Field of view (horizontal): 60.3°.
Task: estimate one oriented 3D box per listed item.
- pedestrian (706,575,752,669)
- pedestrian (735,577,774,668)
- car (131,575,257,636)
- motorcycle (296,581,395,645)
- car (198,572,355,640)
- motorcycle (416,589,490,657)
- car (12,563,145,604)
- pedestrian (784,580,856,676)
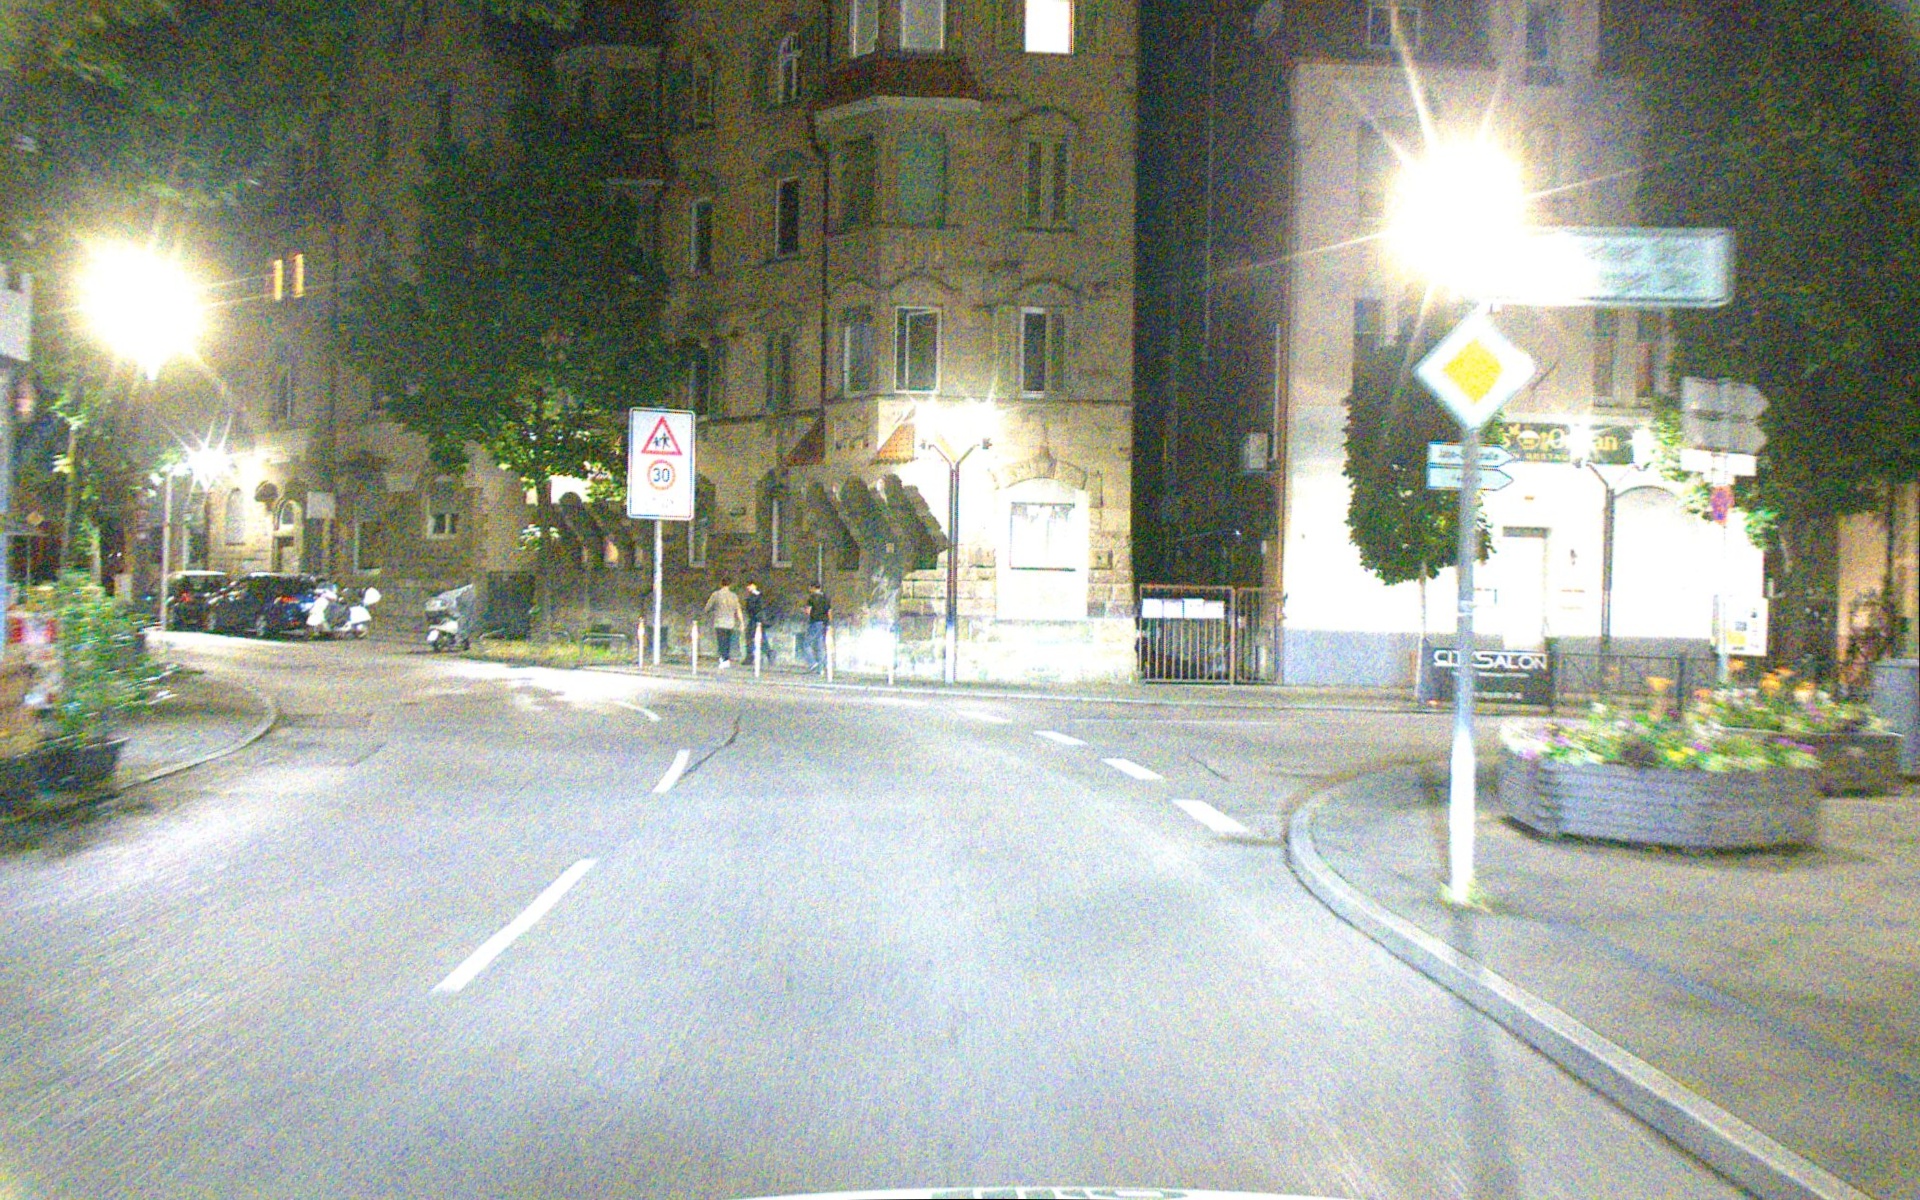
[{"bbox_3d":[-4.353,0.416,31.172,0.692,1.739,0.505,1,0,43],"label":"pedestrian"},{"bbox_3d":[-3.979,0.429,32.004,0.561,1.739,0.475,1,0,42],"label":"pedestrian"},{"bbox_3d":[-20.252,0.121,43.684,3.932,1.479,1.730,2,1,44],"label":"car"},{"bbox_3d":[-14.308,0.280,38.566,0.905,1.430,2.054,2,2,32],"label":"motorcycle"},{"bbox_3d":[-16.640,0.123,40.165,4.386,1.527,1.728,2,0,41],"label":"car"},{"bbox_3d":[-10.688,0.460,34.909,0.744,1.377,1.946,1,0,6],"label":"motorcycle"},{"bbox_3d":[-32.833,-0.576,61.676,1.818,1.447,4.006,0,-1,40],"label":"car"},{"bbox_3d":[-2.490,0.490,29.445,0.945,1.659,0.808,1,-1,30],"label":"pedestrian"}]
